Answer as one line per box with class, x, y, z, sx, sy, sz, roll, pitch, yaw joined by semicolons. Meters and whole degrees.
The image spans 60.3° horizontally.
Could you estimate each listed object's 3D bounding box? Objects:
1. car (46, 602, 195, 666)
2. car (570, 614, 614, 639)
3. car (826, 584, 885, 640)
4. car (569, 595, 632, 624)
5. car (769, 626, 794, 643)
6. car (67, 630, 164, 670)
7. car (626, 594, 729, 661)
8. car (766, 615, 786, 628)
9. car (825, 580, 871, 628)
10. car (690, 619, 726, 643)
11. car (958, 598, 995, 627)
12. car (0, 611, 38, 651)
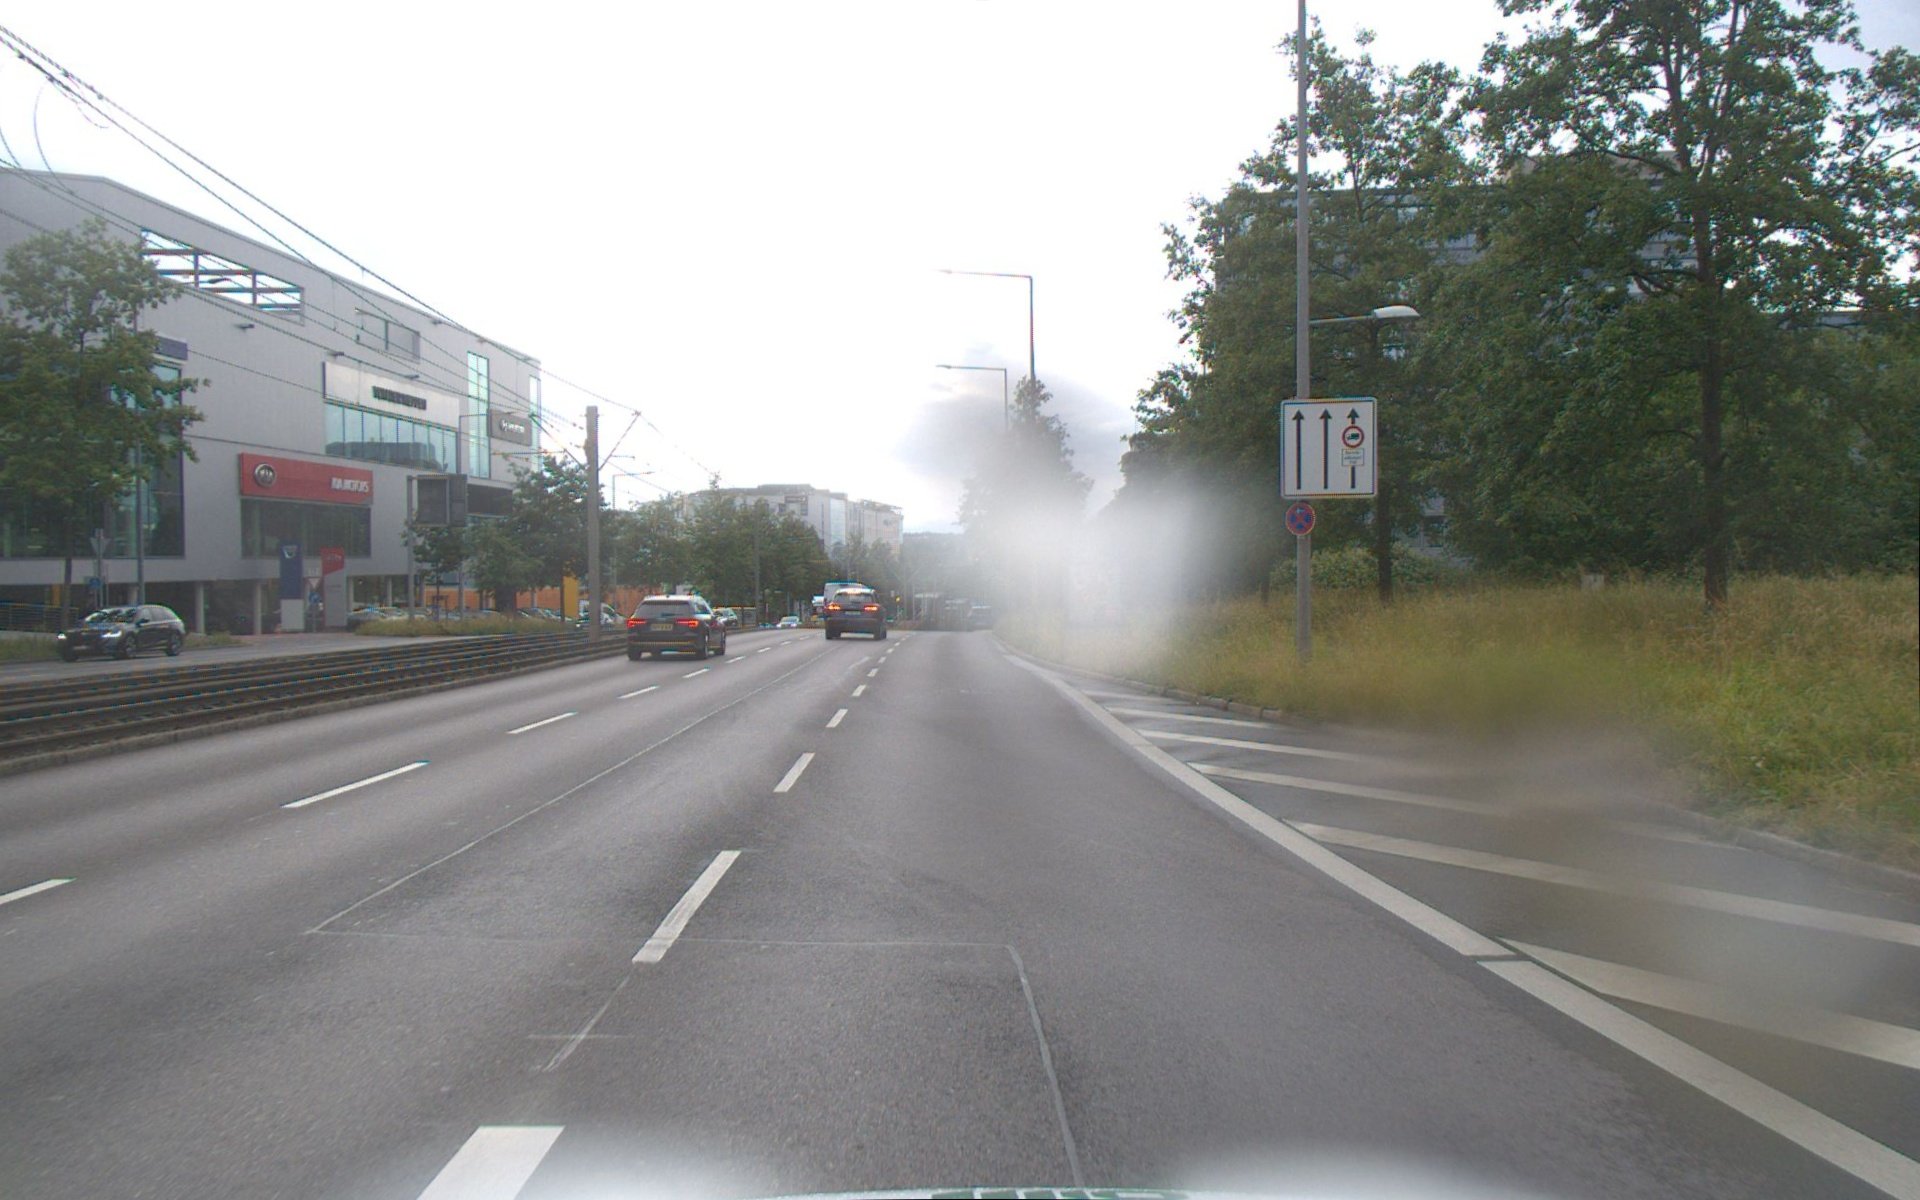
car;-23.041;0.894;45.599;1.804;1.512;4.429;-3;0;-1
car;-22.580;1.631;101.691;1.633;1.487;4.238;1;-2;1
car;-3.496;0.376;55.012;1.885;1.740;4.094;1;0;-4
car;-31.254;0.850;143.817;5.217;2.353;2.011;1;-2;-17
car;-15.491;3.007;143.725;1.633;1.487;4.239;1;-2;2
car;-39.433;2.287;77.356;1.953;1.755;4.940;1;-1;0
car;-6.494;0.597;38.424;1.750;1.438;4.803;1;0;-3
car;-21.406;2.485;192.337;1.633;1.487;4.239;1;-2;2
car;-5.657;0.205;83.408;2.223;2.325;4.755;1;0;-4
car;-17.177;2.117;112.709;1.623;1.577;4.001;1;-2;3
car;0.942;0.728;95.113;1.754;1.619;3.996;-1;0;-4
car;-45.237;1.427;76.972;1.953;1.823;4.938;1;-1;-2
